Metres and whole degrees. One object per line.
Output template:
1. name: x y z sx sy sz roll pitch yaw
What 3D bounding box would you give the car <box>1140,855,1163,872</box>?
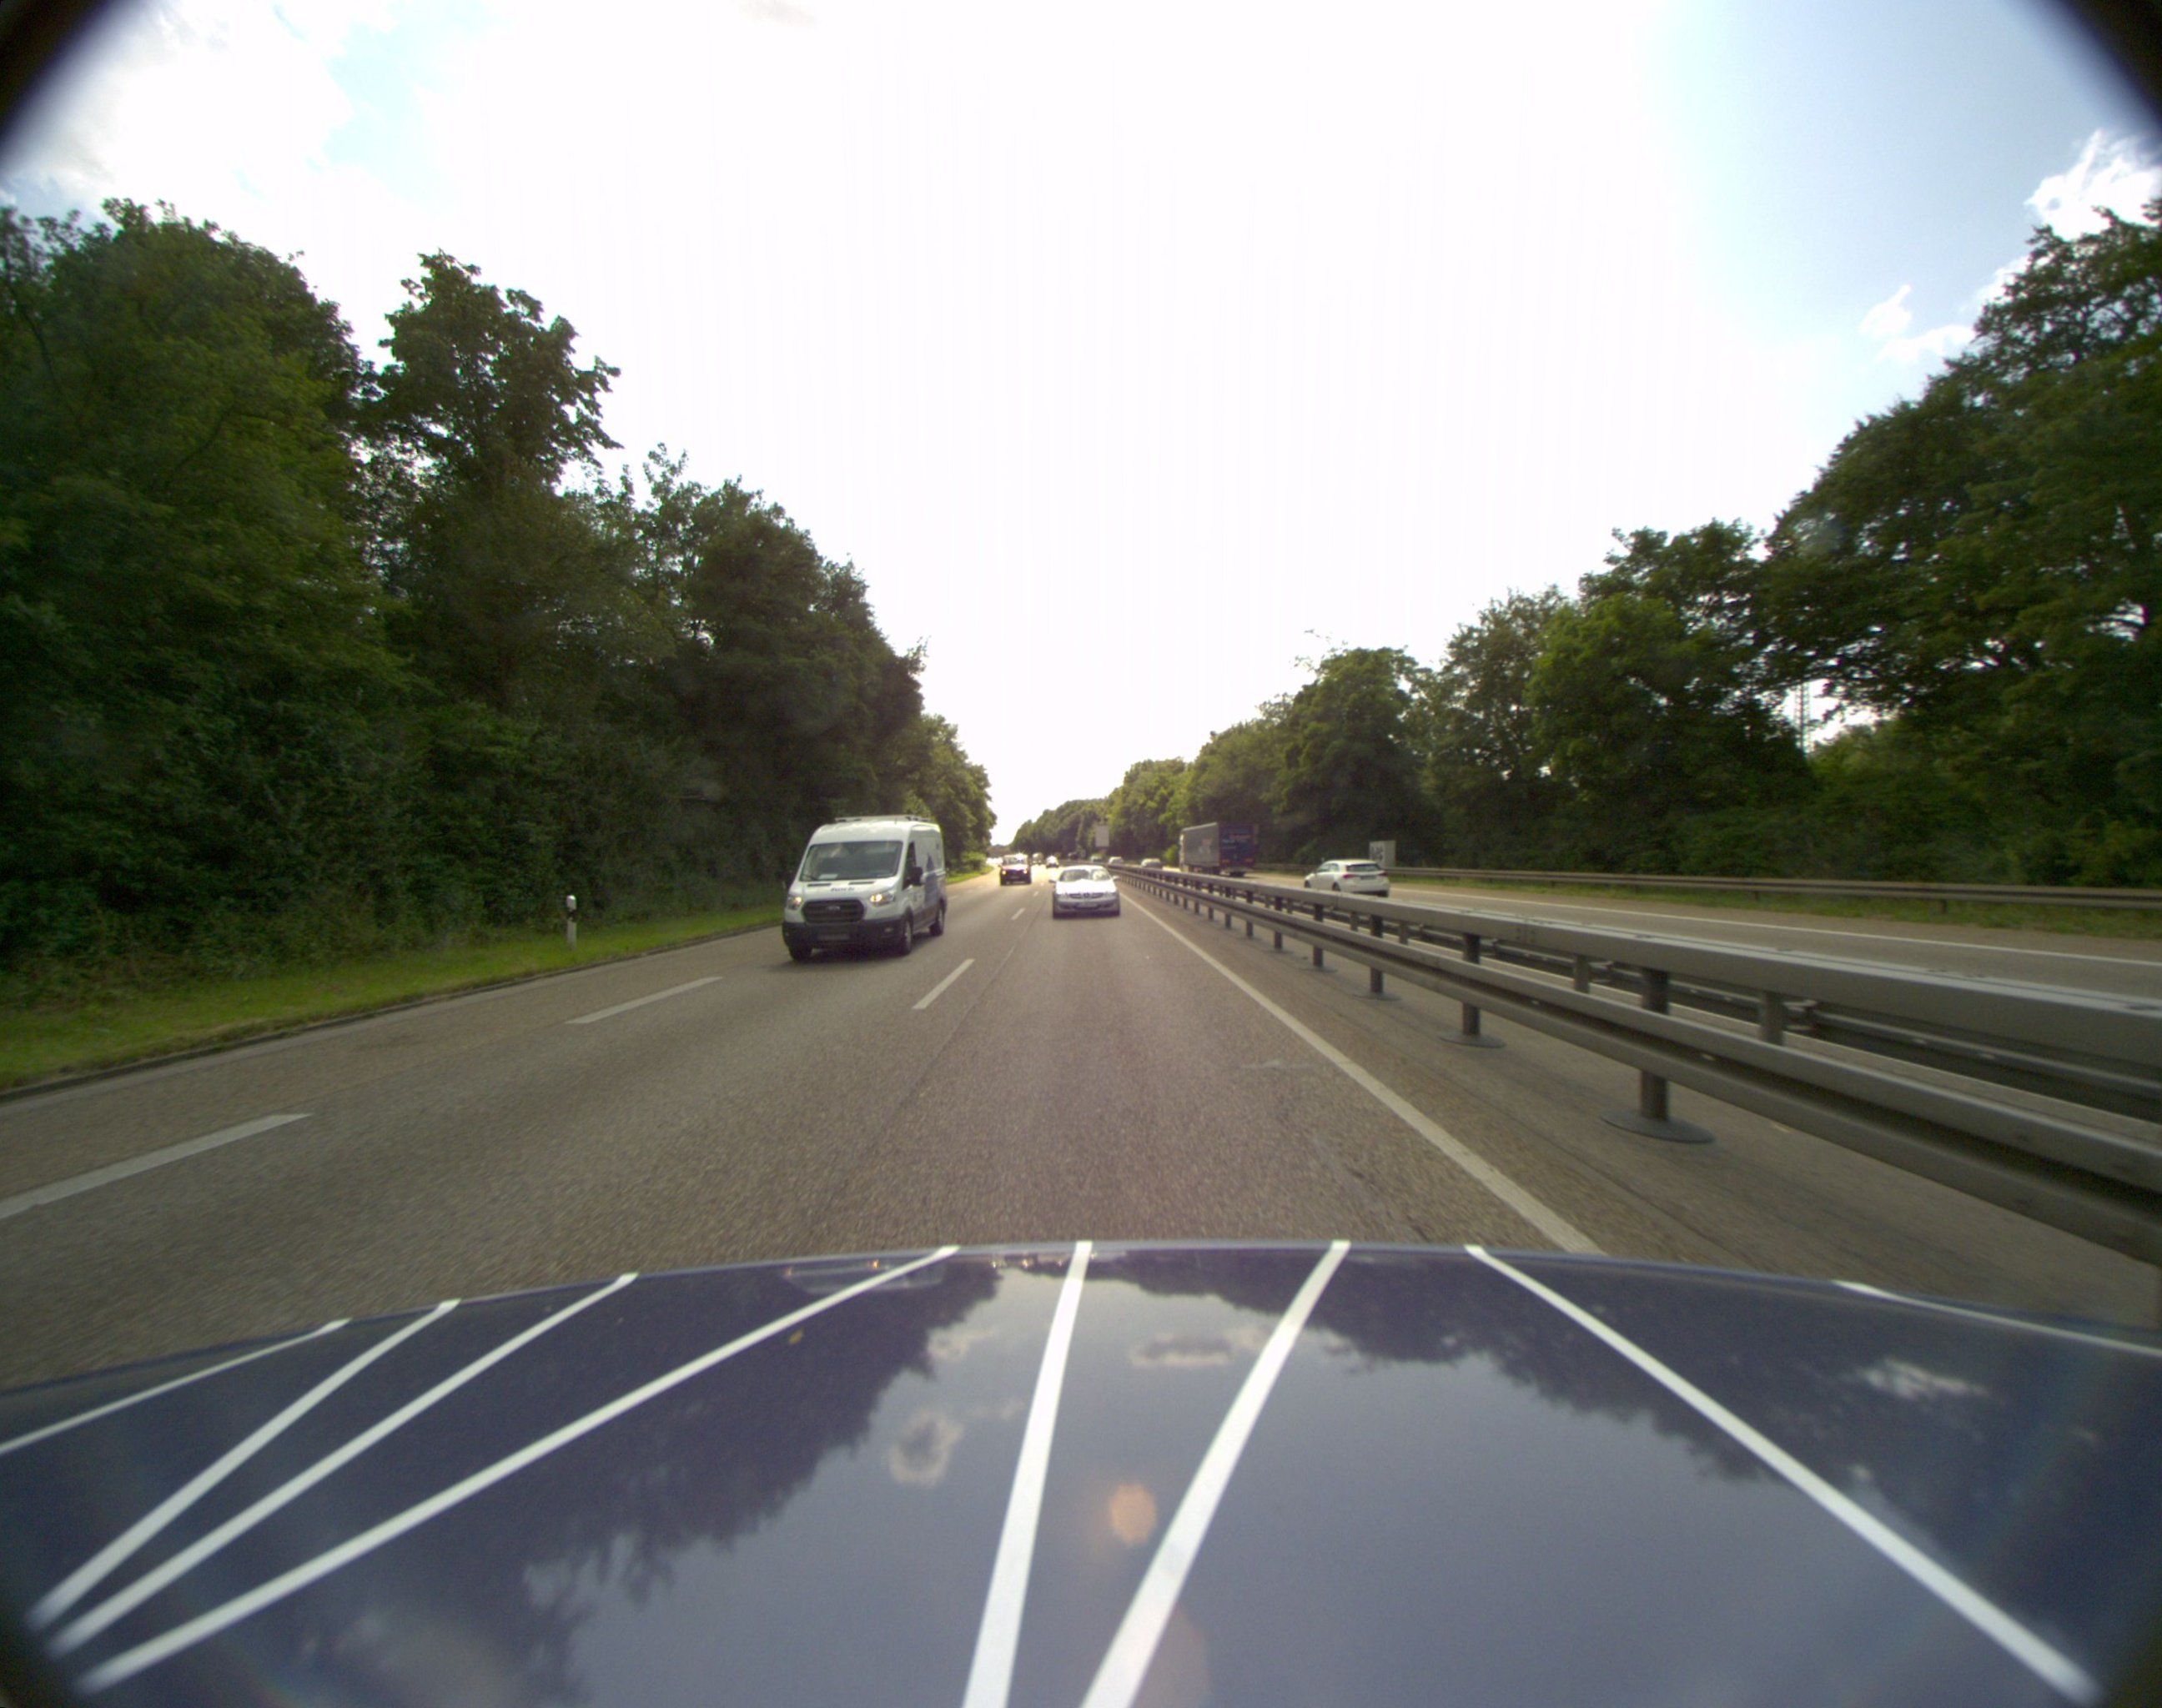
1. car: 6.334 0.861 68.554 1.666 1.436 4.008 -1 0 -1

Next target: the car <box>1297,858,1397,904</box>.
1. car: 9.534 0.921 27.632 1.683 1.422 4.549 -3 0 -4

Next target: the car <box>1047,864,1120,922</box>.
1. car: 0.083 1.007 21.616 1.751 1.295 5.223 -3 0 0

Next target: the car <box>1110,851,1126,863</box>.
1. car: 4.918 0.410 100.591 1.860 1.506 3.993 -1 0 -1

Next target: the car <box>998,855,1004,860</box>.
1. car: -25.165 1.084 238.733 1.786 1.512 3.998 -1 0 -6

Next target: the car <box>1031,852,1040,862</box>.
1. car: -9.634 0.638 160.829 1.999 2.002 3.998 -1 0 -4

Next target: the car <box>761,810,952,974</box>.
1. car: -3.982 0.590 14.642 2.104 2.493 5.278 -3 0 -1

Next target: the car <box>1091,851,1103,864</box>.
1. car: 2.610 0.506 123.905 1.860 2.004 3.993 -1 0 -1

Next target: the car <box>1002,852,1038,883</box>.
1. car: -3.815 0.841 48.263 1.909 1.795 4.394 -3 0 -1

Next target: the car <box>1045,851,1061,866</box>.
1. car: -3.976 0.607 107.341 1.999 2.002 3.998 -1 0 -4

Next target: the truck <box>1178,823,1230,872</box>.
1. truck: 10.826 -0.593 67.490 3.384 4.073 6.128 -2 1 -1

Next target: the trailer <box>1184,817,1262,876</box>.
1. trailer: 10.983 -0.627 60.479 3.413 4.056 12.976 -2 1 -1

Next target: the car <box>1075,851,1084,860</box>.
1. car: -0.374 0.358 183.497 1.861 2.004 3.991 -1 0 -5
